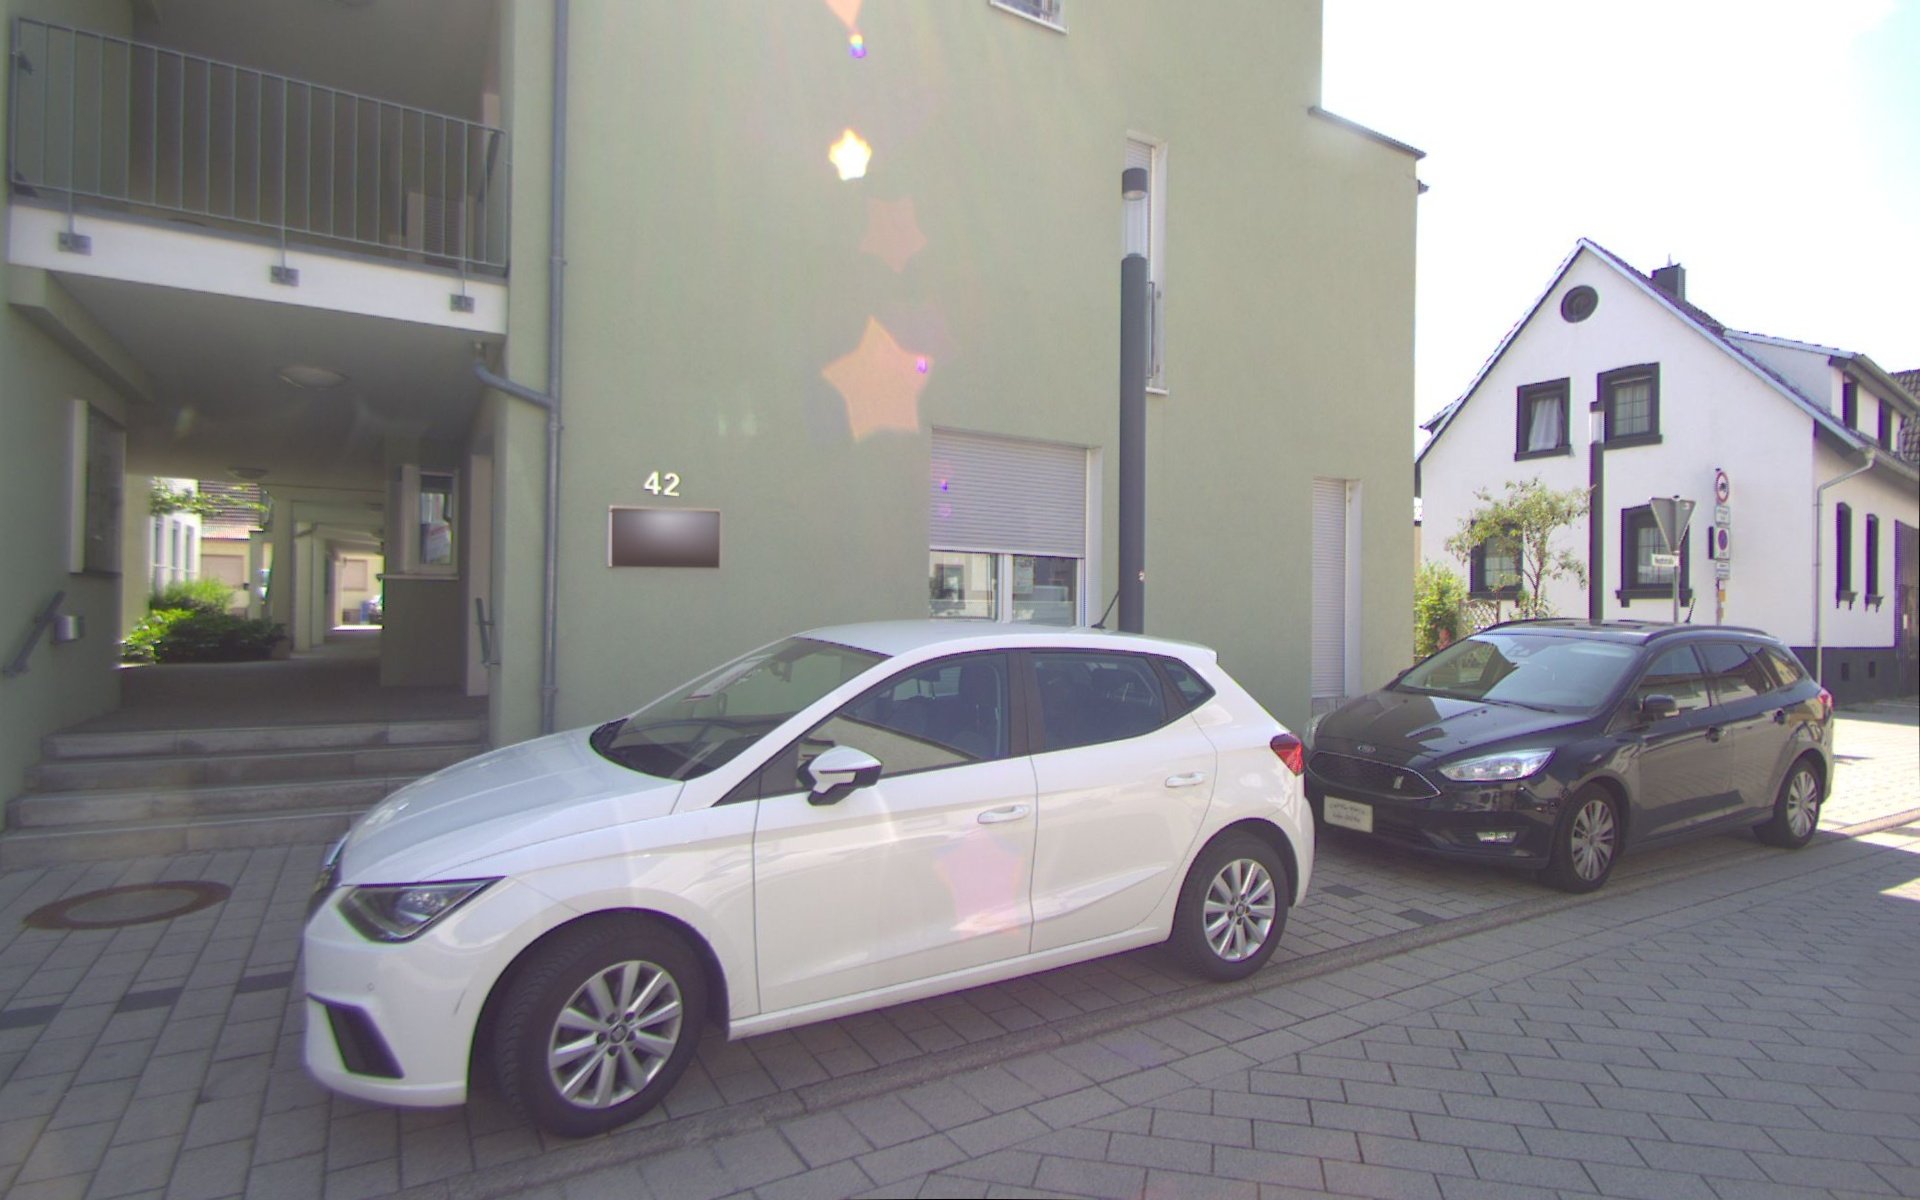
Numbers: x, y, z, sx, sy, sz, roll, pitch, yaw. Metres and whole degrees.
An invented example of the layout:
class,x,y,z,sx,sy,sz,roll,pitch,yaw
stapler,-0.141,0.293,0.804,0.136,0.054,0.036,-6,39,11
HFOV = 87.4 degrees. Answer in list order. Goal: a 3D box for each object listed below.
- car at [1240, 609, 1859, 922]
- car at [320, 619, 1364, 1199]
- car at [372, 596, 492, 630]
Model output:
class,x,y,z,sx,sy,sz,roll,pitch,yaw
car,4.116,0.877,6.865,4.227,1.510,1.804,1,1,-30
car,-0.332,0.829,4.176,3.832,1.430,1.749,1,1,-30
car,-20.140,0.518,38.361,3.953,1.171,1.616,2,0,-30
